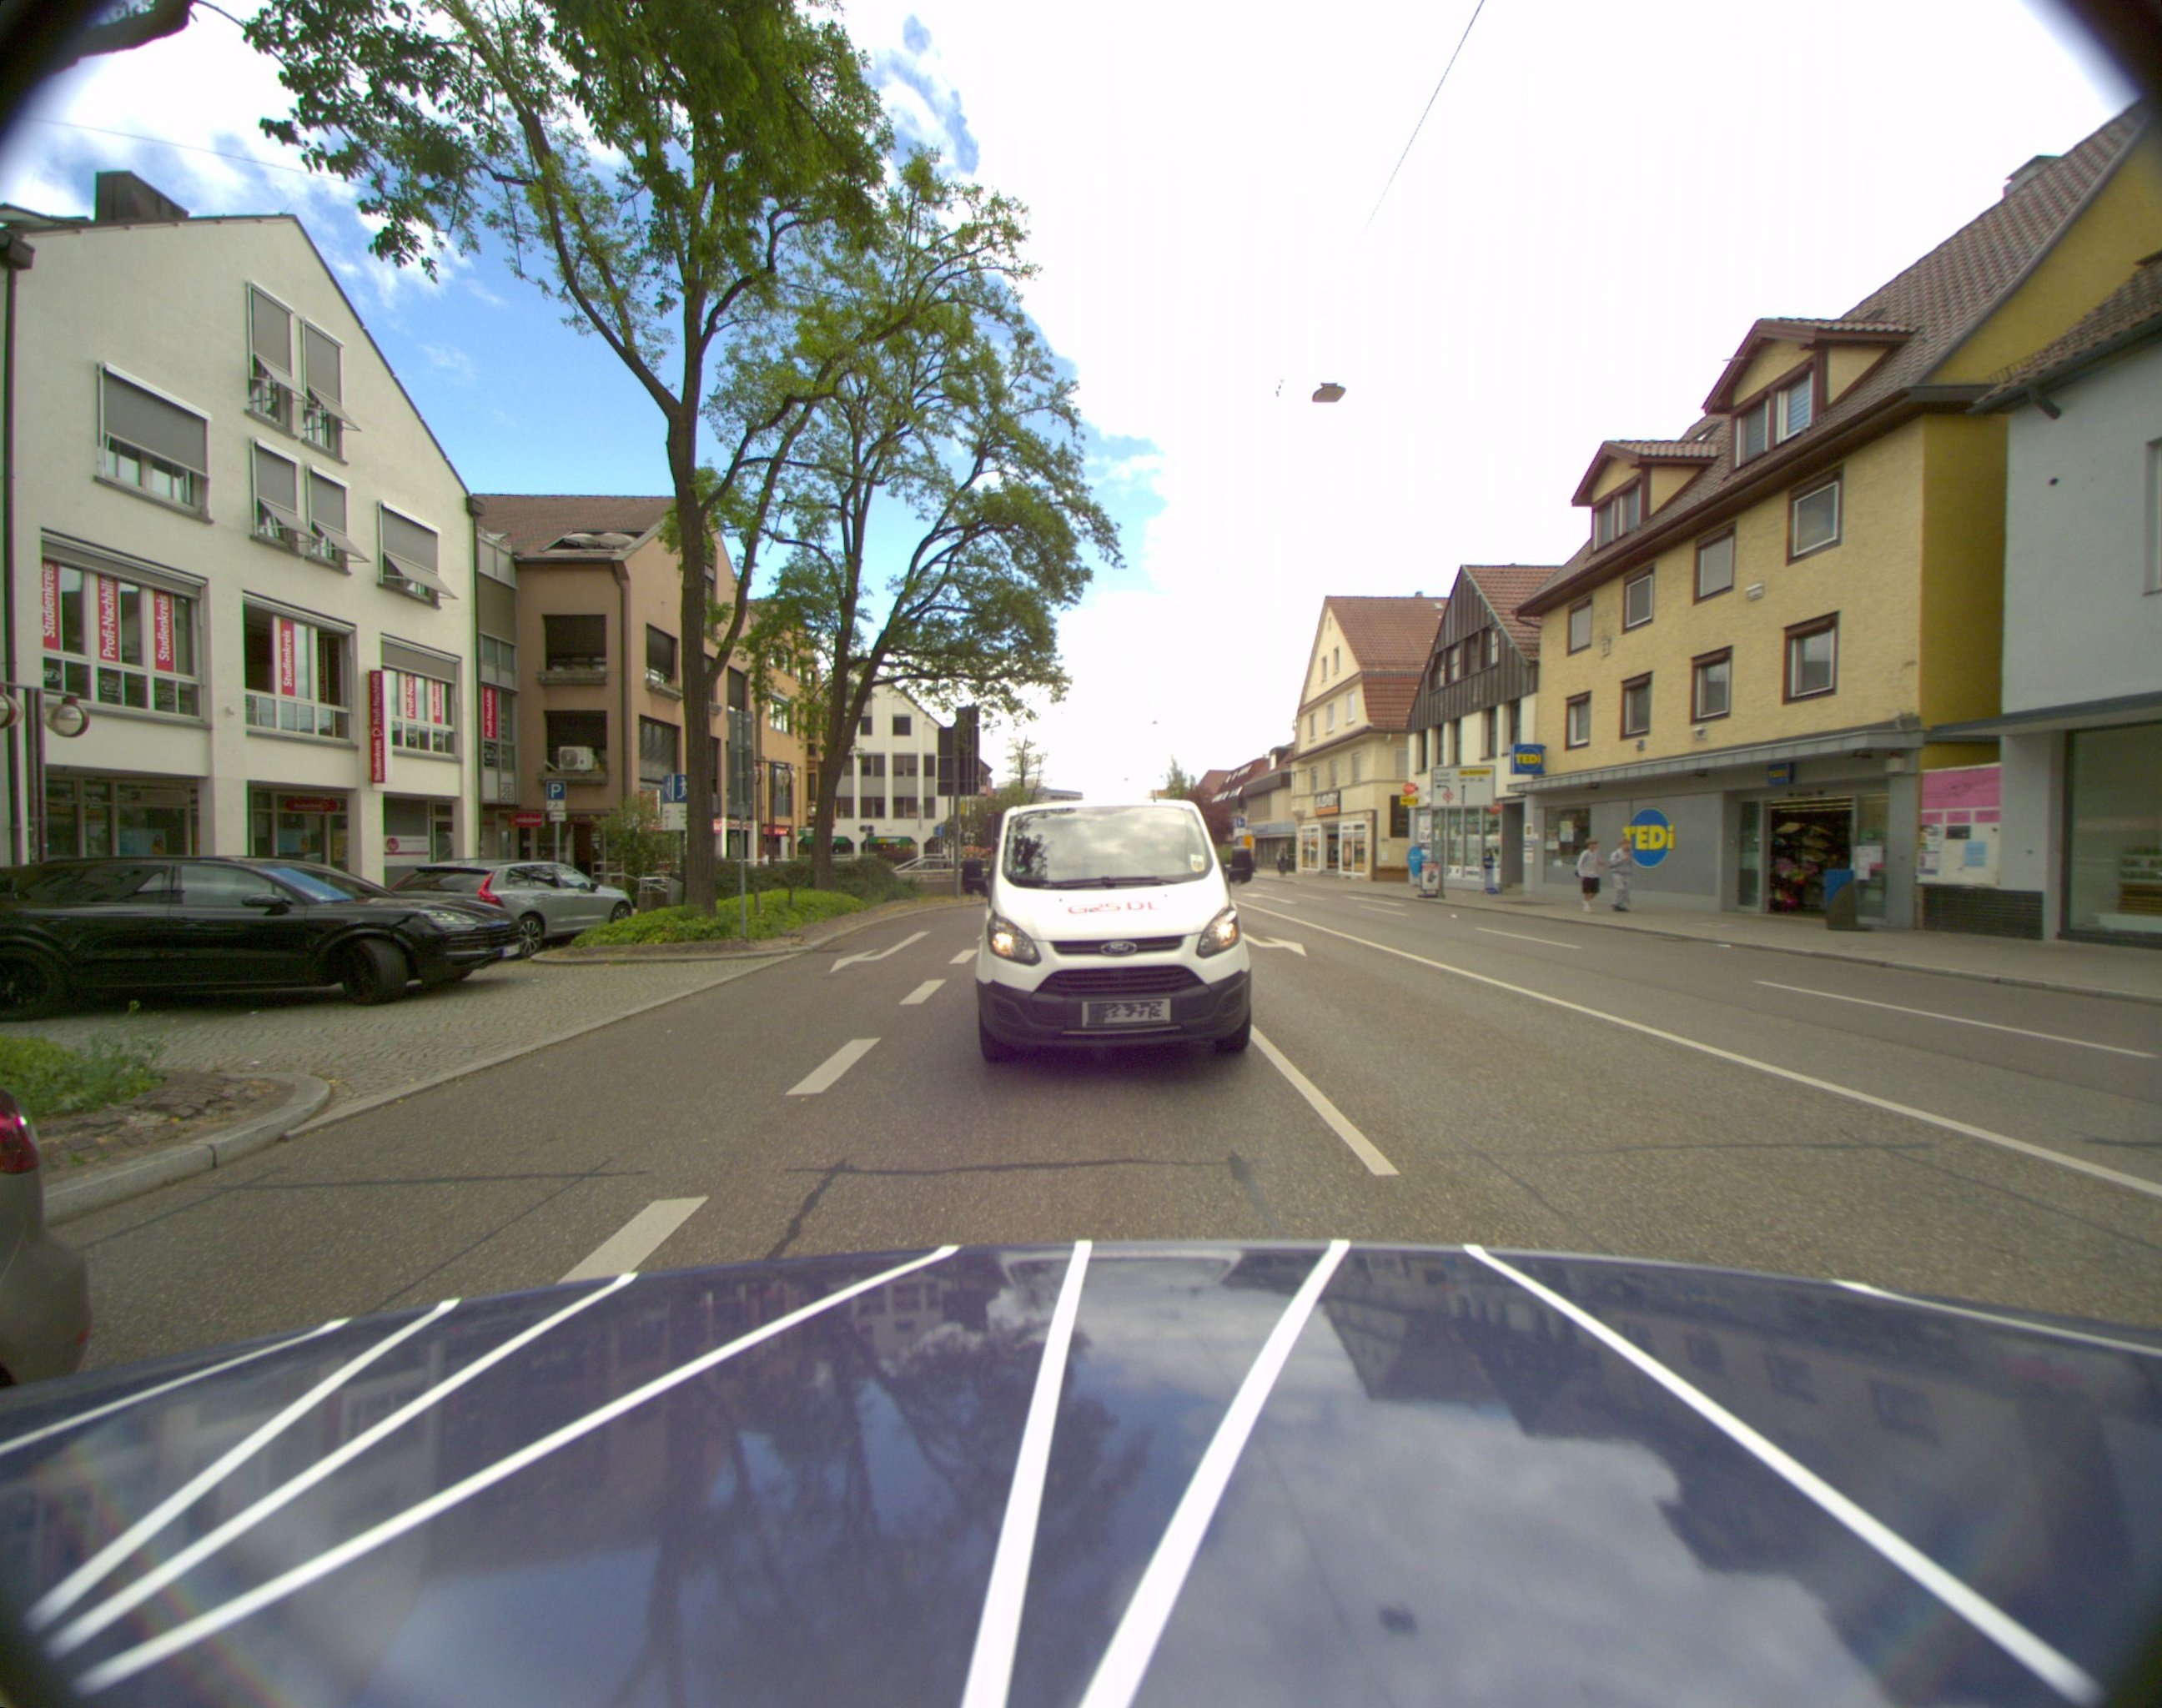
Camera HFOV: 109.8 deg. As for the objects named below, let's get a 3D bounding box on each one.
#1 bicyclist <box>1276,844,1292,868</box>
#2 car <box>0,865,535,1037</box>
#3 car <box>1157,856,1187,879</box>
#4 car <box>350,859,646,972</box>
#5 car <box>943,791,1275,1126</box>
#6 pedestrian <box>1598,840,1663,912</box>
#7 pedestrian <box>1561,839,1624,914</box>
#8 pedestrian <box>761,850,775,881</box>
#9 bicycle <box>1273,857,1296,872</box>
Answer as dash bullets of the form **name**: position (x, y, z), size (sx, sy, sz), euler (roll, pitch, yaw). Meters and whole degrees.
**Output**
- **bicyclist**: position (11.912, 0.105, 44.563), size (0.773, 1.415, 0.752), euler (0, 1, 0)
- **car**: position (-9.593, 0.991, 8.933), size (4.758, 1.669, 1.997), euler (1, 0, -19)
- **car**: position (7.645, 1.121, 63.957), size (1.928, 1.766, 4.769), euler (1, 1, 0)
- **car**: position (-10.352, 0.969, 14.115), size (1.999, 1.645, 4.751), euler (1, 1, -3)
- **car**: position (0.204, 0.618, 7.508), size (1.940, 1.968, 5.779), euler (-2, 1, 1)
- **pedestrian**: position (12.378, 0.483, 17.132), size (0.812, 1.574, 0.920), euler (-1, 1, 1)
- **pedestrian**: position (11.523, 0.487, 17.137), size (0.812, 1.651, 0.920), euler (-1, 1, 1)
- **pedestrian**: position (-16.062, 0.588, 39.003), size (0.494, 1.615, 0.504), euler (-1, 1, -3)
- **bicycle**: position (11.906, 0.628, 44.569), size (0.773, 0.818, 2.240), euler (0, 1, 0)
